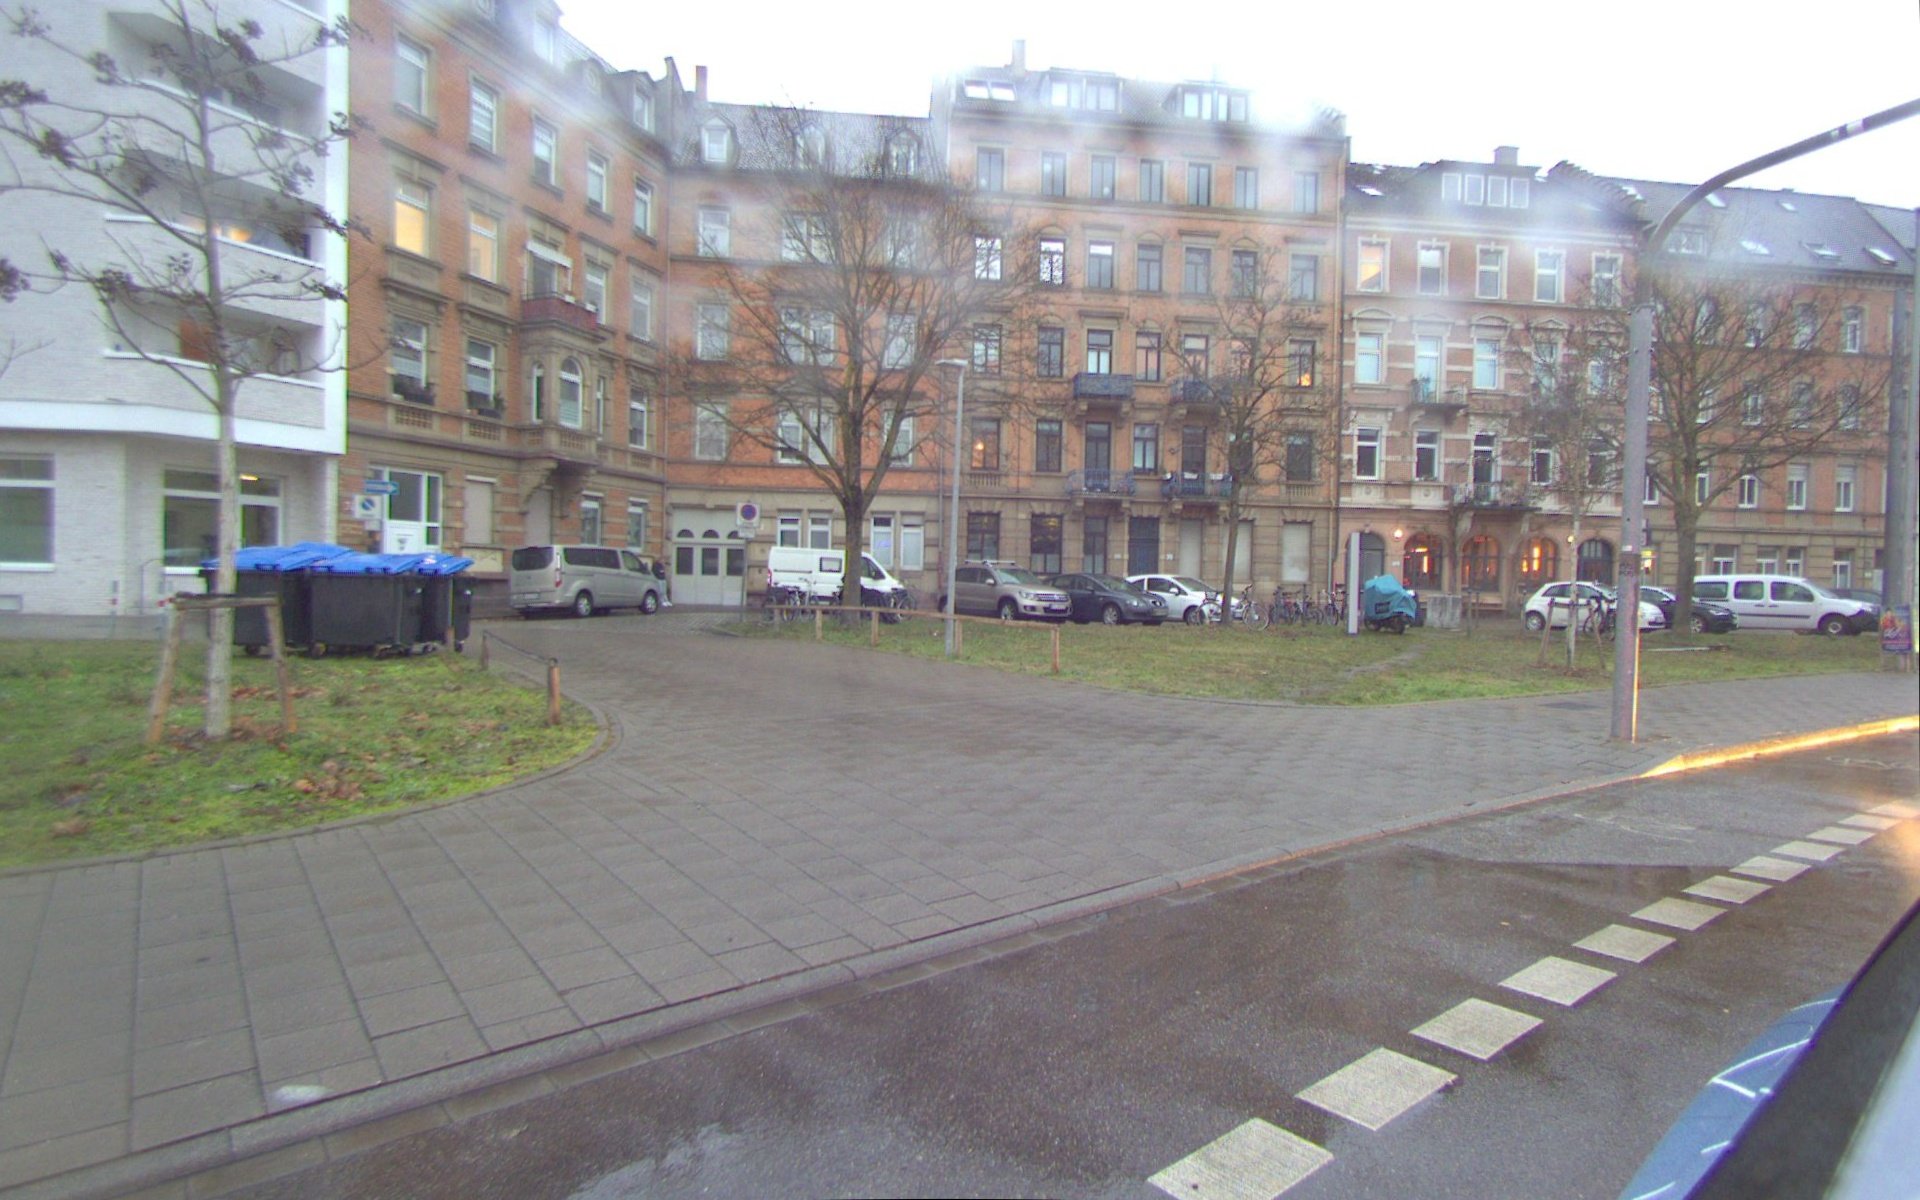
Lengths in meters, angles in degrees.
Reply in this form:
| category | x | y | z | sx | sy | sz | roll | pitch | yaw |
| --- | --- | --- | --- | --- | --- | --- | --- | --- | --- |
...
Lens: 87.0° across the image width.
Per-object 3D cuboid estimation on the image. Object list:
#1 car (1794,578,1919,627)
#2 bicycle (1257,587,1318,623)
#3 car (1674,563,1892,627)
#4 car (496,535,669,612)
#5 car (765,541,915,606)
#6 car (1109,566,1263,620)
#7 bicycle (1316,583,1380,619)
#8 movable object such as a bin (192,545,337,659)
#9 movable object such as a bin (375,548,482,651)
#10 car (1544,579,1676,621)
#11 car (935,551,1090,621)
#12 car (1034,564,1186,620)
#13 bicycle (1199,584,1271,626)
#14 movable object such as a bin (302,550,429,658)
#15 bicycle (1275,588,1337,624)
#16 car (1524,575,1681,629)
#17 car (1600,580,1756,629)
| category | x | y | z | sx | sy | sz | roll | pitch | yaw |
| --- | --- | --- | --- | --- | --- | --- | --- | --- | --- |
| car | 27.147 | 0.108 | 29.473 | 1.737 | 1.250 | 4.066 | 2 | 3 | -35 |
| bicycle | 9.414 | 0.142 | 29.202 | 0.613 | 0.978 | 2.175 | 3 | -1 | -13 |
| car | 24.046 | -0.214 | 29.757 | 1.745 | 1.611 | 4.663 | 0 | 3 | -37 |
| car | -10.498 | -0.656 | 28.583 | 1.976 | 1.943 | 4.715 | -1 | -1 | 21 |
| car | -4.091 | -0.912 | 34.489 | 4.885 | 2.038 | 2.004 | 1 | 2 | -7 |
| car | 6.094 | -0.215 | 27.564 | 1.669 | 1.353 | 3.852 | 0 | 1 | -42 |
| bicycle | 11.229 | 0.011 | 29.385 | 0.613 | 0.978 | 2.176 | 1 | 2 | -13 |
| movable object such as a bin | -9.632 | 0.012 | 14.066 | 1.303 | 1.514 | 1.031 | 1 | 1 | 0 |
| movable object such as a bin | -8.023 | 0.000 | 15.324 | 1.022 | 1.509 | 1.035 | 0 | -1 | 6 |
| car | 24.233 | 0.019 | 37.791 | 3.967 | 1.520 | 1.740 | 1 | -1 | -9 |
| car | 1.290 | -0.429 | 26.399 | 1.908 | 1.656 | 4.000 | -1 | 3 | -37 |
| car | 3.890 | -0.204 | 26.645 | 1.649 | 1.372 | 3.737 | 2 | 0 | -42 |
| bicycle | 6.627 | 0.107 | 24.421 | 1.628 | 0.948 | 0.512 | 2 | 1 | 15 |
| movable object such as a bin | -8.317 | 0.037 | 14.215 | 1.200 | 1.433 | 1.018 | 1 | 2 | -3 |
| bicycle | 10.028 | 0.169 | 29.387 | 0.613 | 0.978 | 2.175 | 3 | -1 | -13 |
| car | 18.355 | 0.057 | 29.034 | 1.583 | 1.461 | 3.467 | 1 | 0 | -34 |
| car | 21.032 | 0.104 | 29.733 | 1.634 | 1.368 | 3.430 | 1 | 0 | -39 |
